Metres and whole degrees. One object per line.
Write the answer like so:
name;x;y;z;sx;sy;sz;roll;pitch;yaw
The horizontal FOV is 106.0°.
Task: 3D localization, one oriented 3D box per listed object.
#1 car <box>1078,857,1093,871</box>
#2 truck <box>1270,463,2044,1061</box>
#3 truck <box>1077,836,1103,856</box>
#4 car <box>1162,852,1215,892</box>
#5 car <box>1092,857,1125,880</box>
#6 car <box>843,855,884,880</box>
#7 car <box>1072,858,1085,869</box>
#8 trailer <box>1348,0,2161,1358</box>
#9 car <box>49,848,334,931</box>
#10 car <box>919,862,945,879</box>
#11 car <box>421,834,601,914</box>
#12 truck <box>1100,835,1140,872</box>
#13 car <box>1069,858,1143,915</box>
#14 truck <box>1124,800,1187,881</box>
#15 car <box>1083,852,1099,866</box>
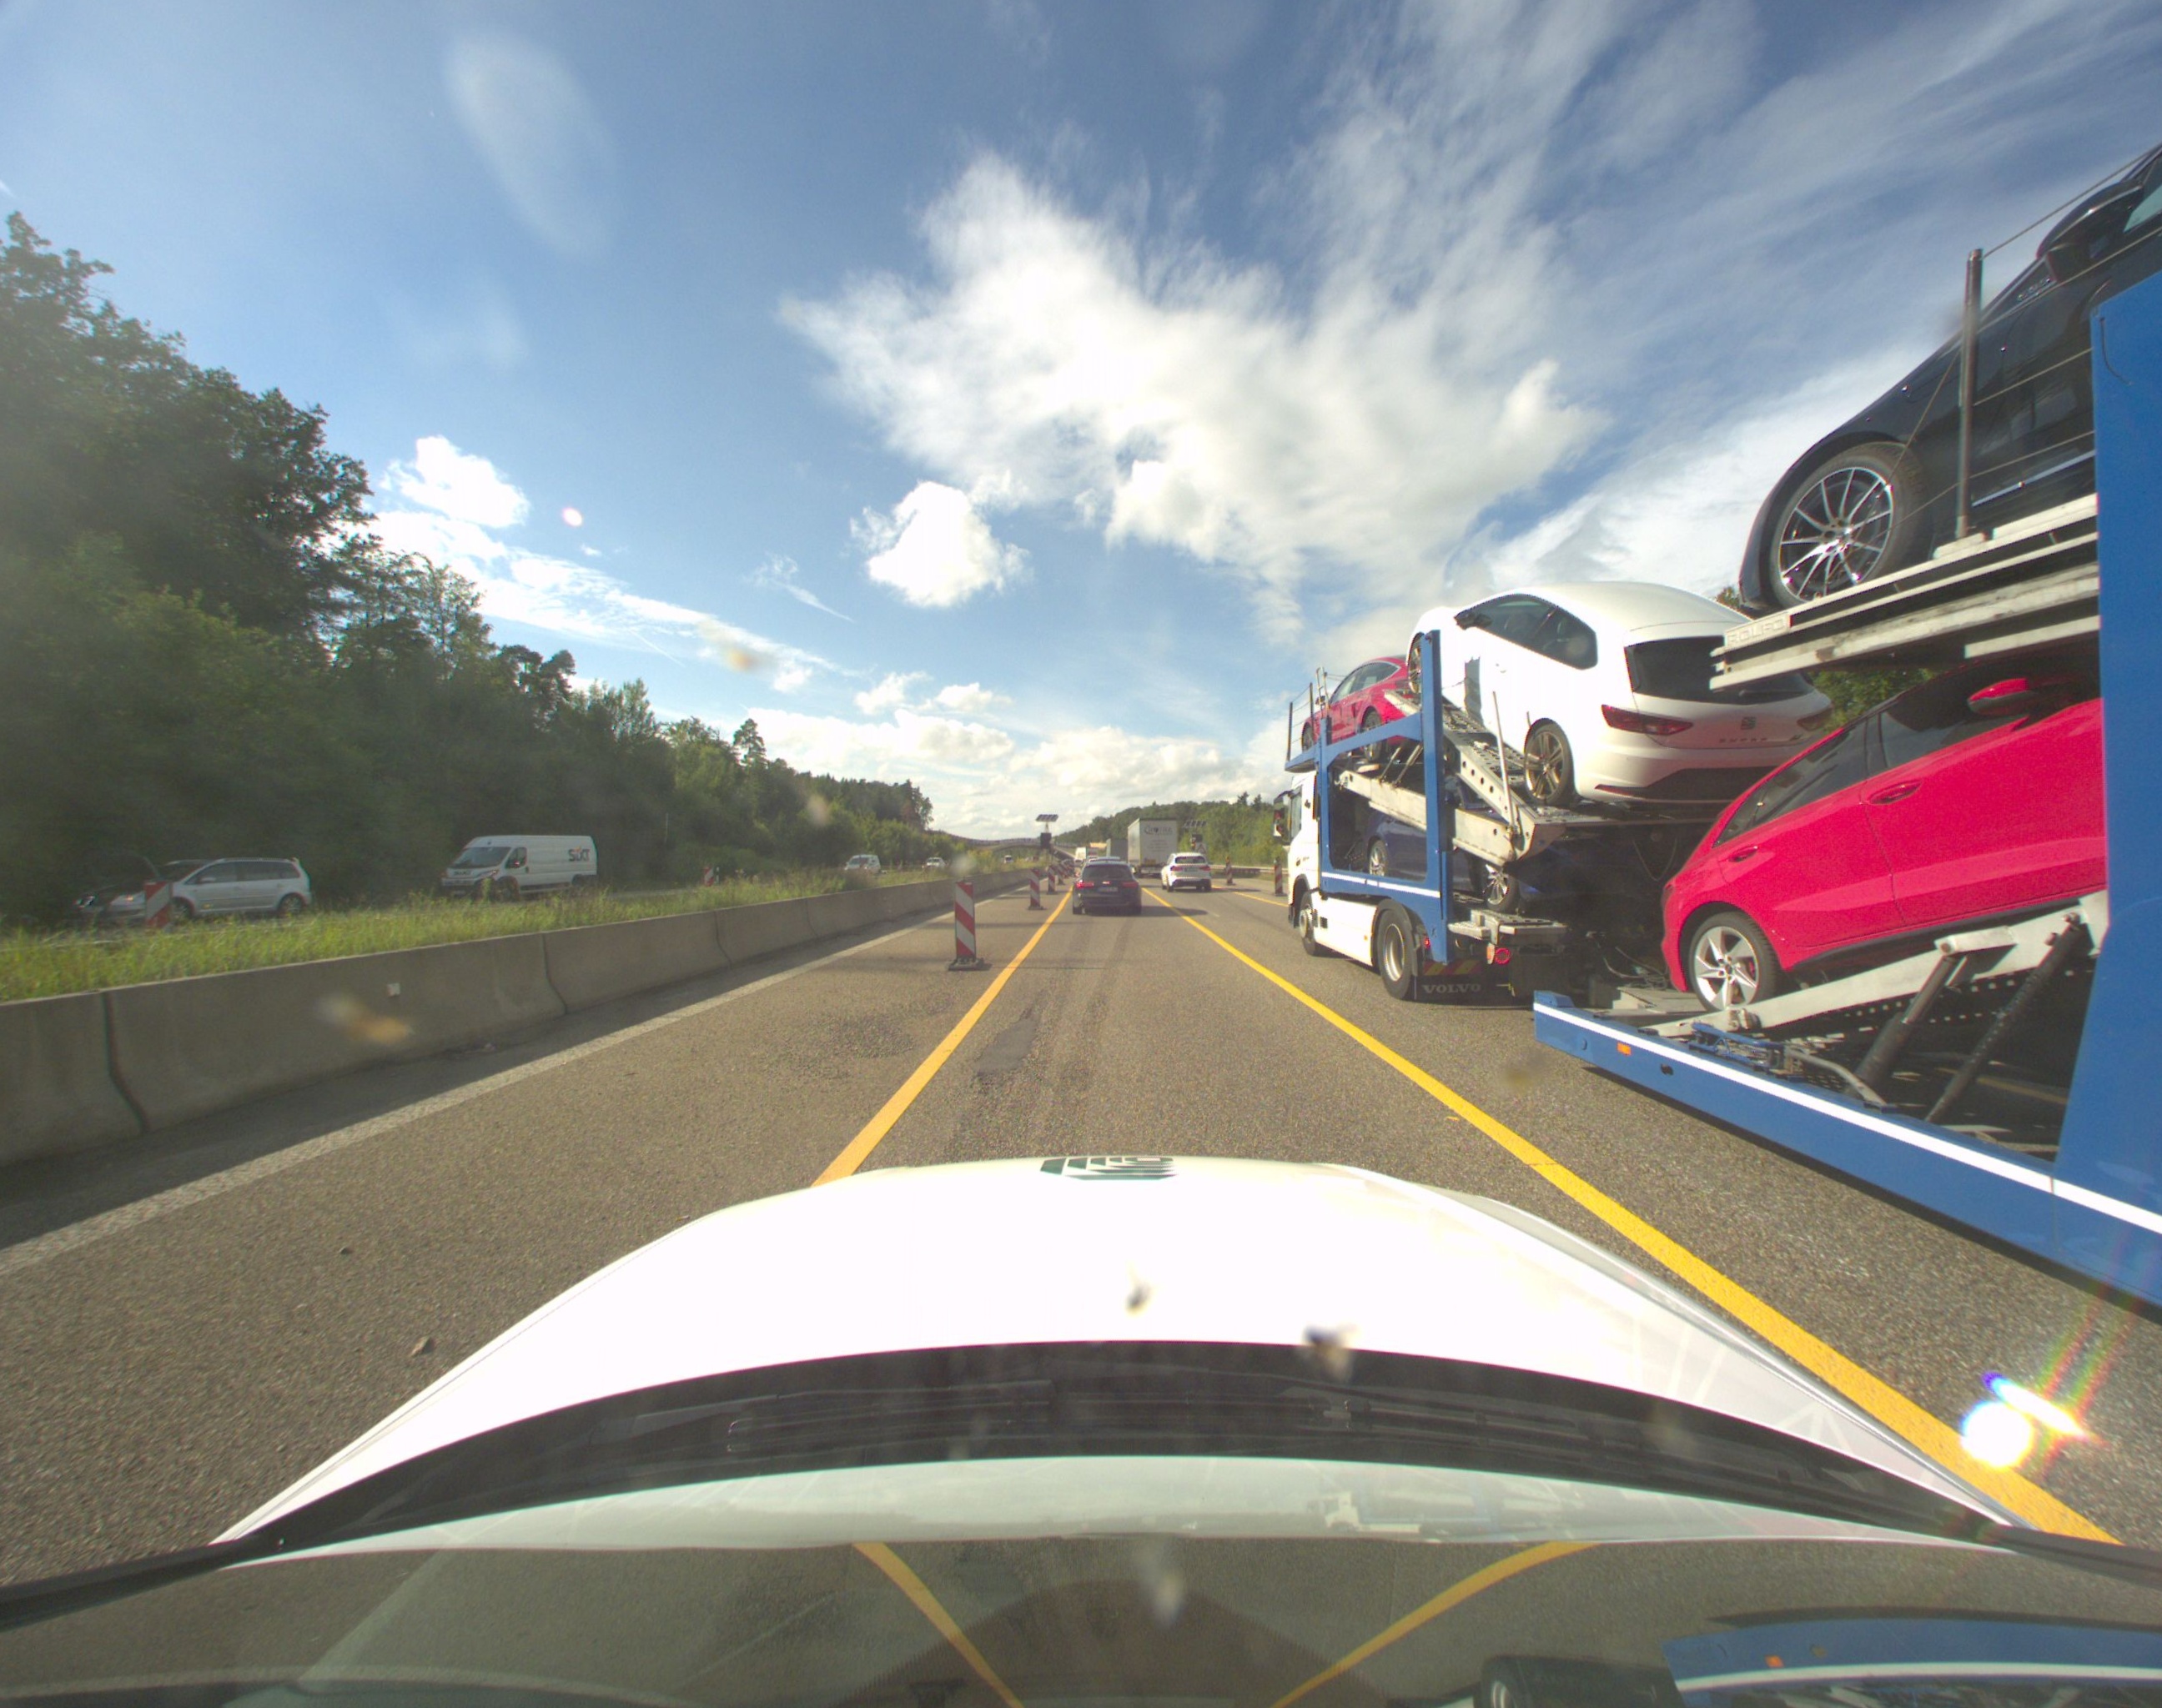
car;0.640;1.473;120.110;1.989;2.014;3.994;0;-1;-4
truck;4.950;-0.609;9.709;3.747;4.196;7.953;0;-1;2
truck;1.775;-1.546;165.846;3.652;3.928;11.034;0;-1;-8
car;4.655;0.756;35.735;1.883;1.643;4.019;0;-1;2
car;1.784;0.936;54.250;1.885;1.446;3.996;0;-1;-2
car;-16.119;1.018;60.471;1.771;1.786;4.366;0;-1;2
car;-0.512;1.775;150.381;1.991;2.014;3.991;0;-1;-6
trailer;4.777;-0.739;1.490;3.712;4.196;16.232;0;-1;2
car;-22.055;0.816;20.565;1.853;1.854;4.763;0;-1;2
car;-15.737;1.701;86.291;1.771;1.786;4.366;0;-1;2
car;-21.173;0.713;30.772;2.020;2.684;6.525;0;-1;2
truck;5.024;0.007;107.830;4.309;4.600;11.113;0;-1;-3
car;0.709;0.863;22.835;1.883;1.446;4.001;0;-1;2
truck;5.328;-0.790;61.925;3.664;5.353;16.204;0;-1;1
car;1.269;0.620;102.468;1.885;1.643;4.014;0;-1;-2
